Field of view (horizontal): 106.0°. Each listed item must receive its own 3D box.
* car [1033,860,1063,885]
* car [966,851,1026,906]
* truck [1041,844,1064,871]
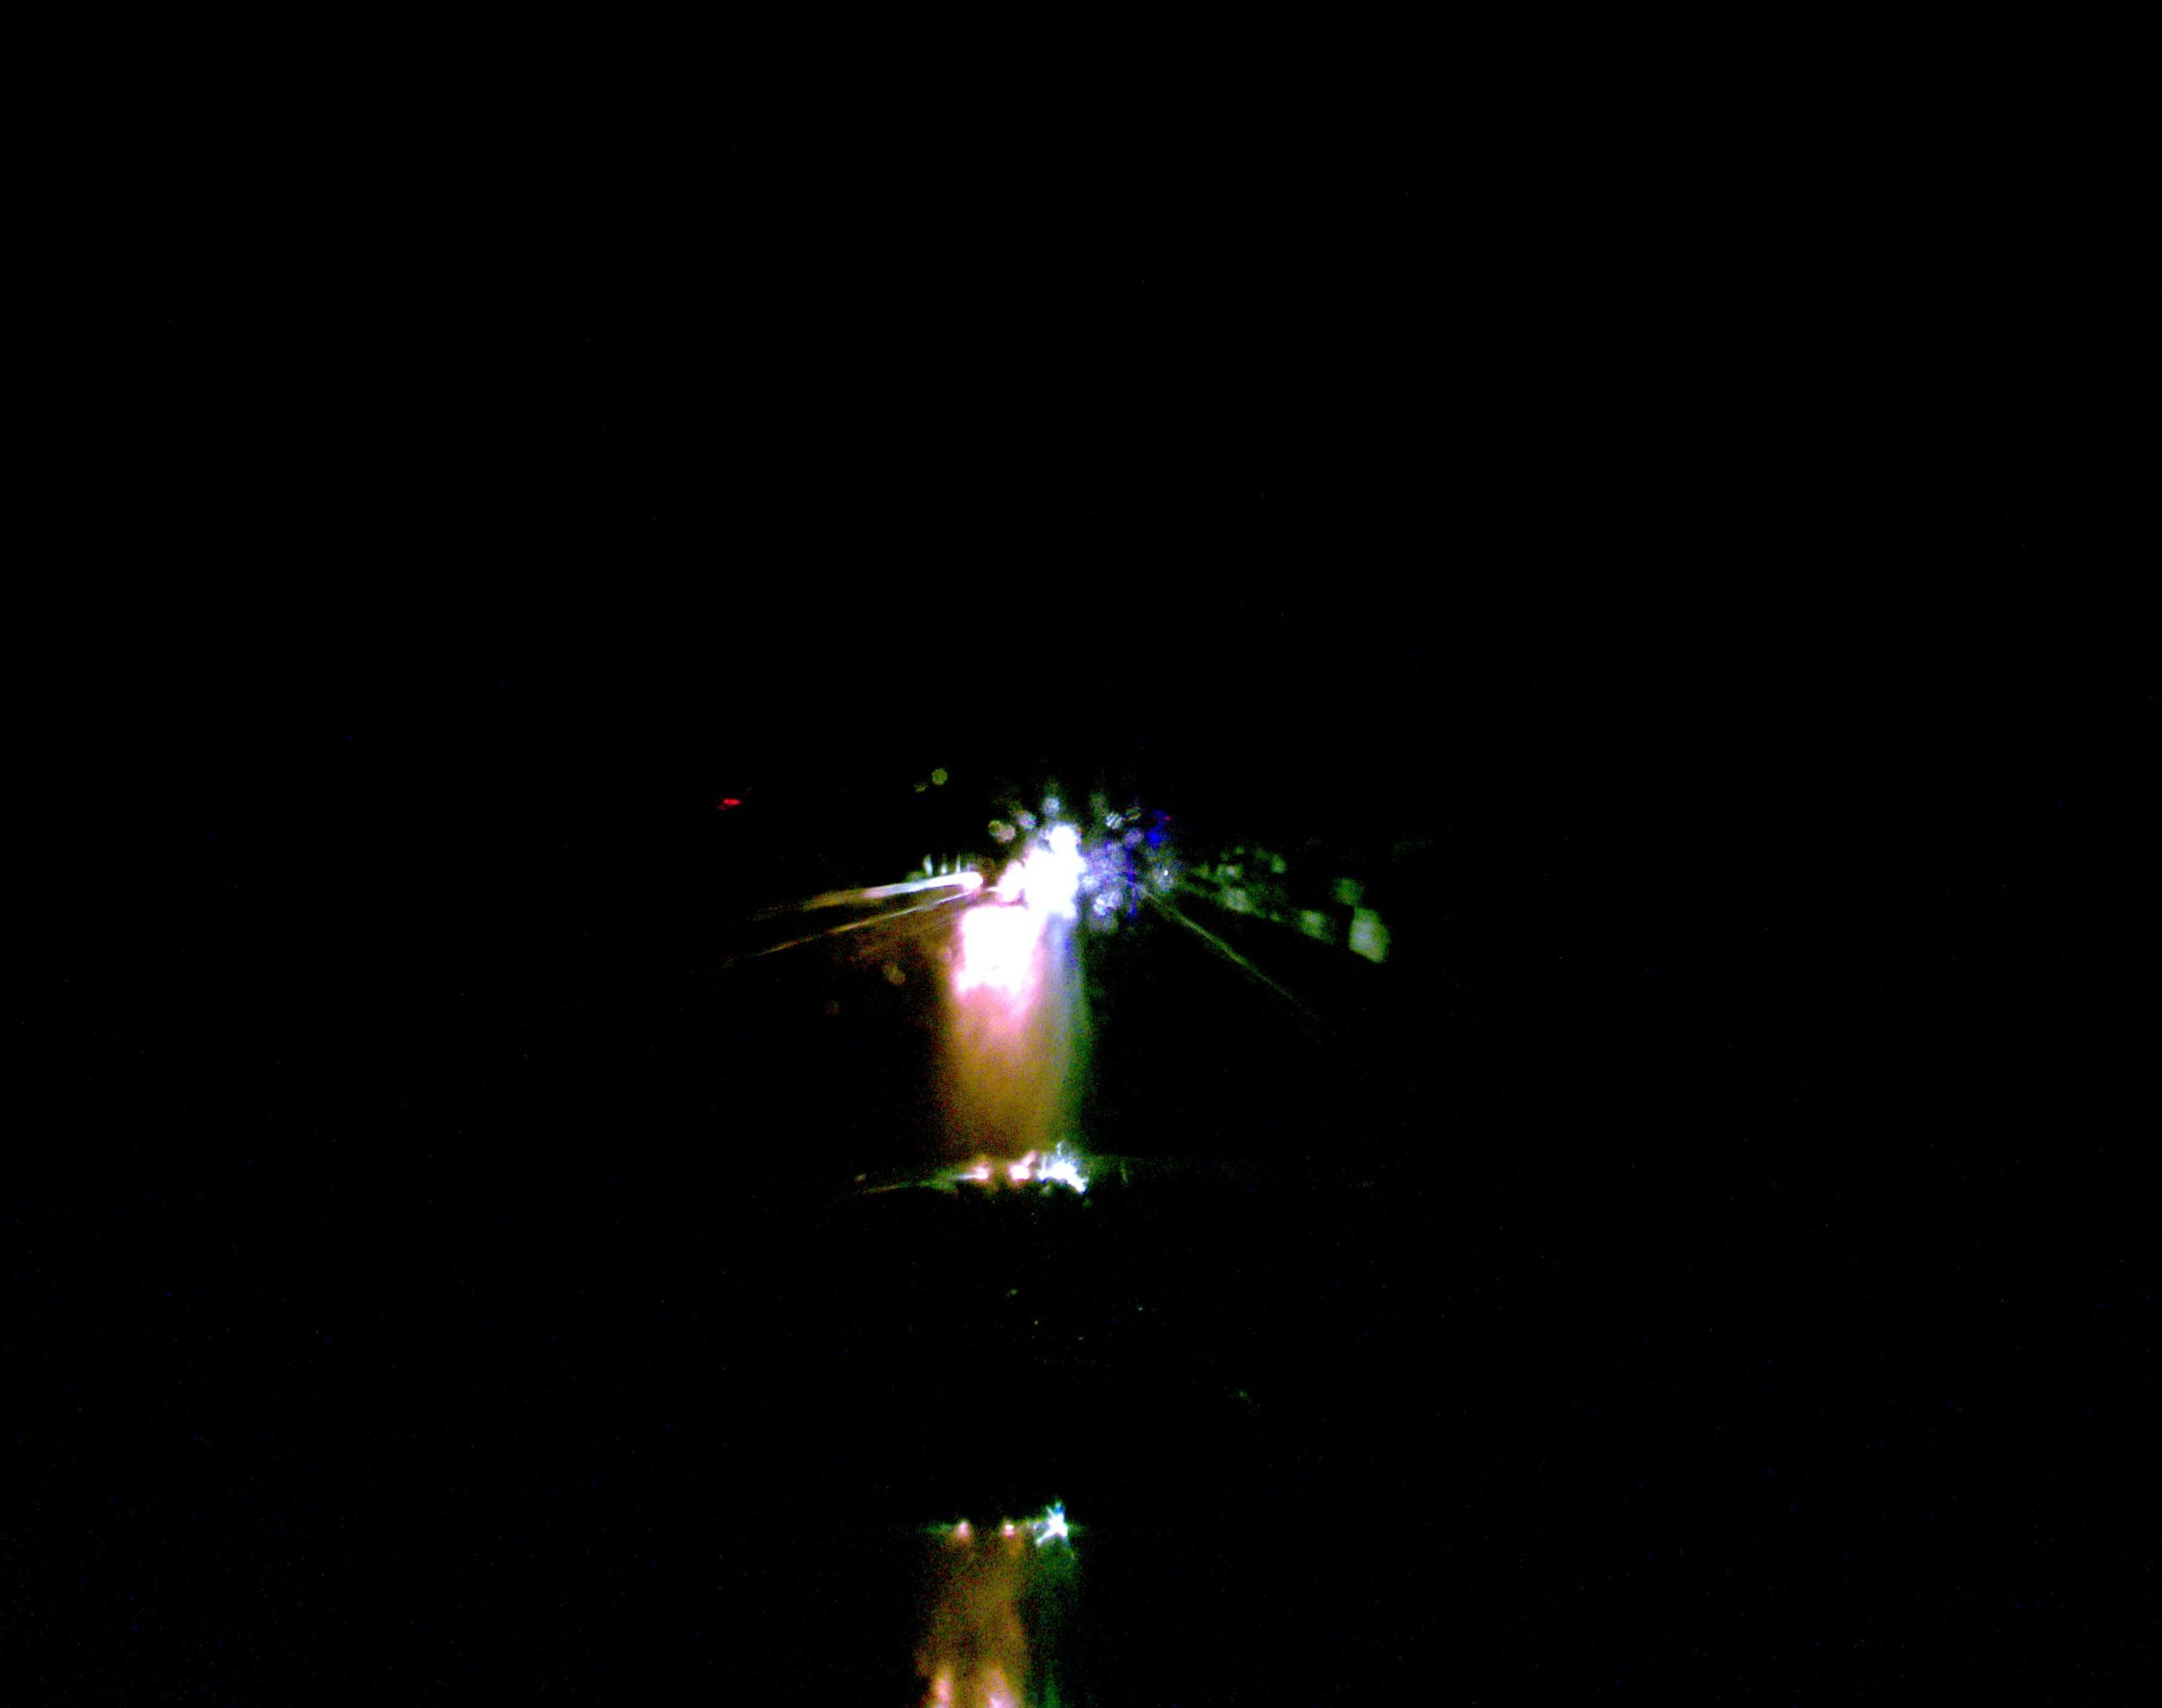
[{"bbox_3d":[-2.266,1.244,56.372,1.879,1.576,4.049,-1,0,0],"label":"car"},{"bbox_3d":[-3.002,0.836,29.401,1.737,1.823,3.877,-1,0,0],"label":"car"},{"bbox_3d":[-2.754,0.349,78.907,2.131,2.535,5.276,-1,0,-1],"label":"truck"}]
